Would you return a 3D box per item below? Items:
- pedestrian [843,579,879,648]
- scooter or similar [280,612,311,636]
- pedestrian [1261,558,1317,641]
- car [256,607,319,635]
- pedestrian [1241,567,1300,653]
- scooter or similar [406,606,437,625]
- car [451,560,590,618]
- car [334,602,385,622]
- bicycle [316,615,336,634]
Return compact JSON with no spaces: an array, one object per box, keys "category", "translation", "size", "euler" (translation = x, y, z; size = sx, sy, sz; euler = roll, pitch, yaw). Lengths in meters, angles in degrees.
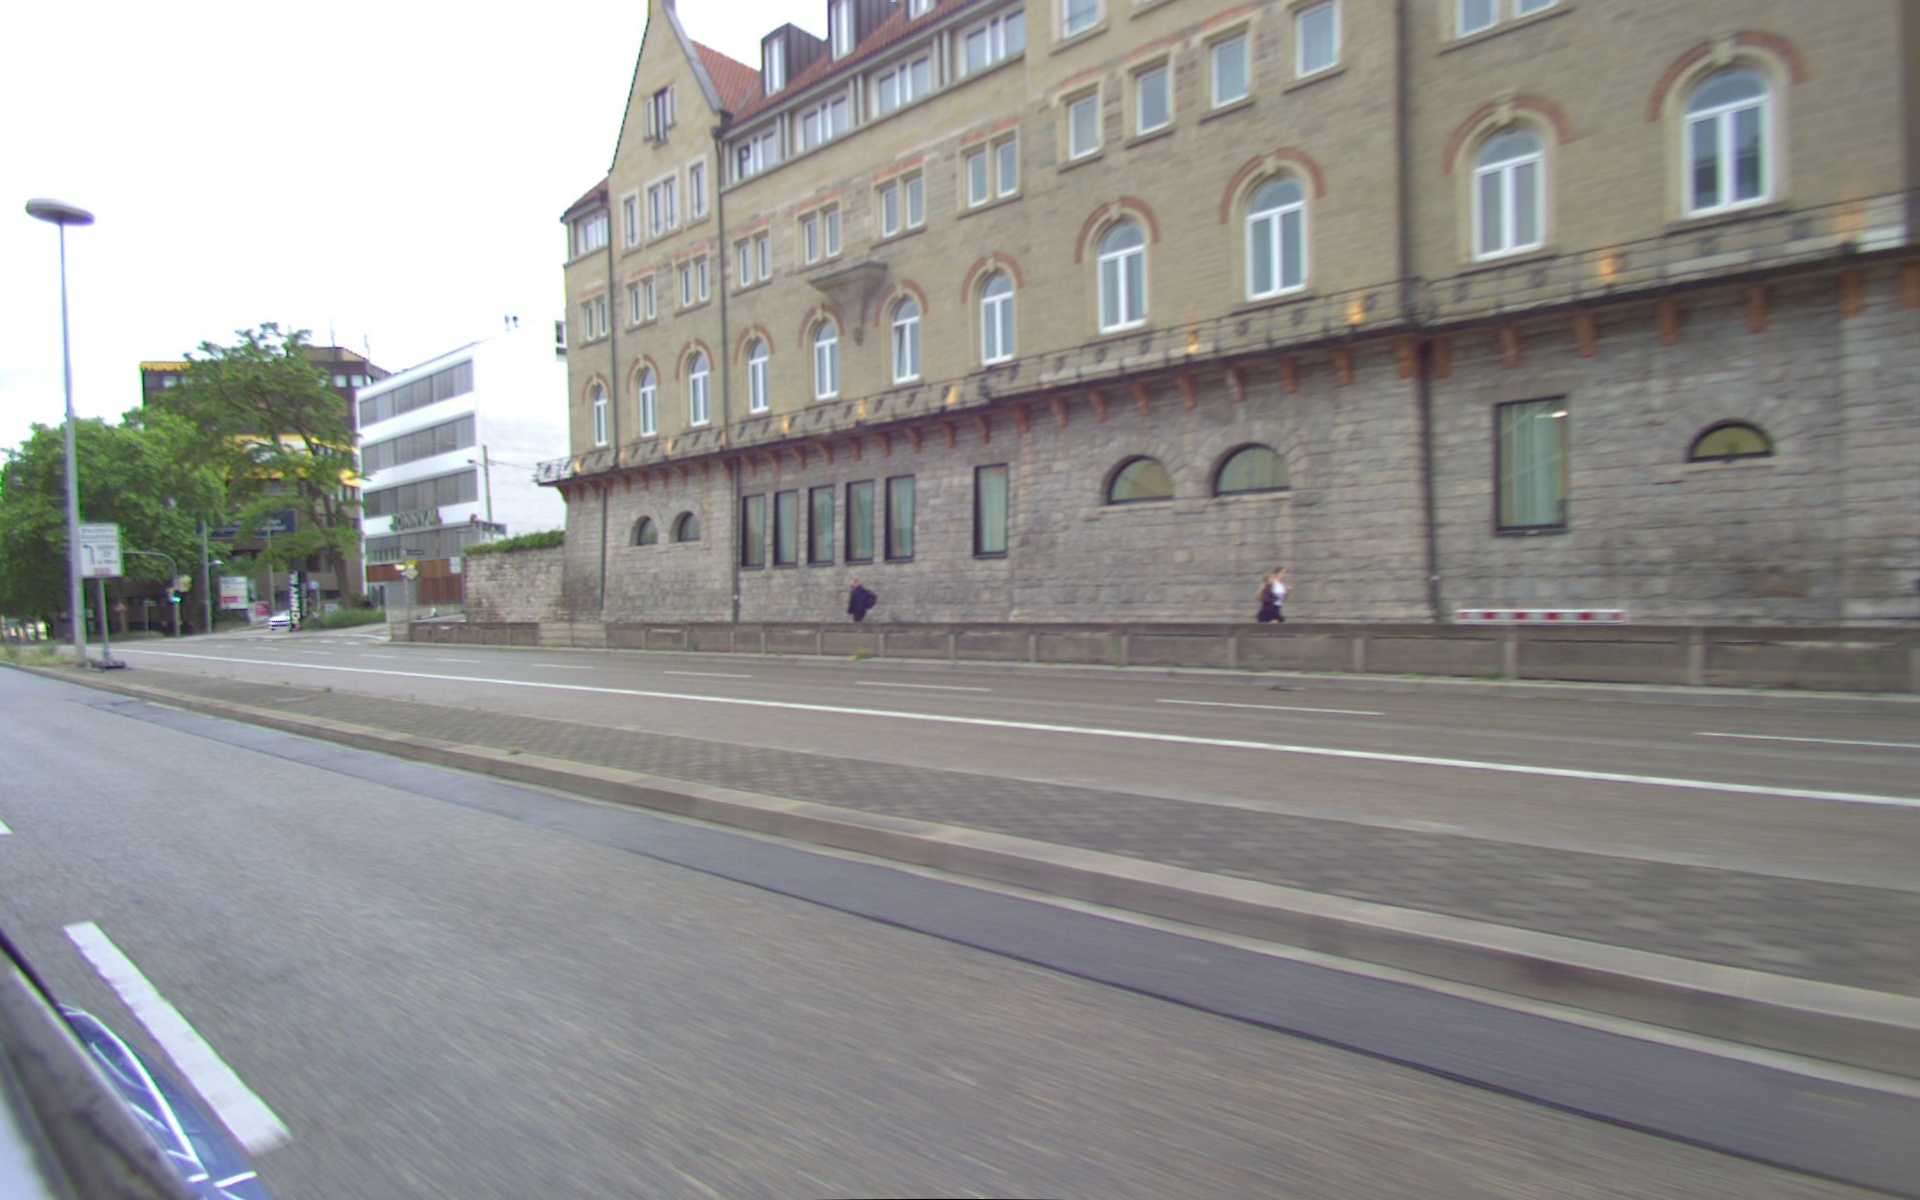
[{"category":"pedestrian","translation":[-2.581,0.360,26.483],"size":[0.621,1.759,0.633],"euler":[-3,-2,42]},{"category":"scooter or similar","translation":[-39.916,1.436,60.769],"size":[0.366,1.256,1.750],"euler":[-2,3,11]},{"category":"pedestrian","translation":[6.099,-0.006,18.752],"size":[0.713,1.489,0.746],"euler":[-3,-2,40]},{"category":"car","translation":[-48.721,1.523,73.426],"size":[1.968,1.665,4.855],"euler":[-4,2,-11]},{"category":"pedestrian","translation":[5.573,0.179,18.163],"size":[0.713,1.489,0.746],"euler":[-3,-2,40]},{"category":"scooter or similar","translation":[-31.007,0.876,58.274],"size":[0.443,0.928,1.455],"euler":[-3,4,38]},{"category":"car","translation":[-25.599,-0.687,59.249],"size":[2.513,2.291,6.836],"euler":[-7,4,41]},{"category":"car","translation":[-59.211,1.181,99.852],"size":[3.938,1.696,1.823],"euler":[-2,0,-6]},{"category":"bicycle","translation":[-36.520,1.412,58.302],"size":[1.757,0.999,0.452],"euler":[-2,0,41]}]
